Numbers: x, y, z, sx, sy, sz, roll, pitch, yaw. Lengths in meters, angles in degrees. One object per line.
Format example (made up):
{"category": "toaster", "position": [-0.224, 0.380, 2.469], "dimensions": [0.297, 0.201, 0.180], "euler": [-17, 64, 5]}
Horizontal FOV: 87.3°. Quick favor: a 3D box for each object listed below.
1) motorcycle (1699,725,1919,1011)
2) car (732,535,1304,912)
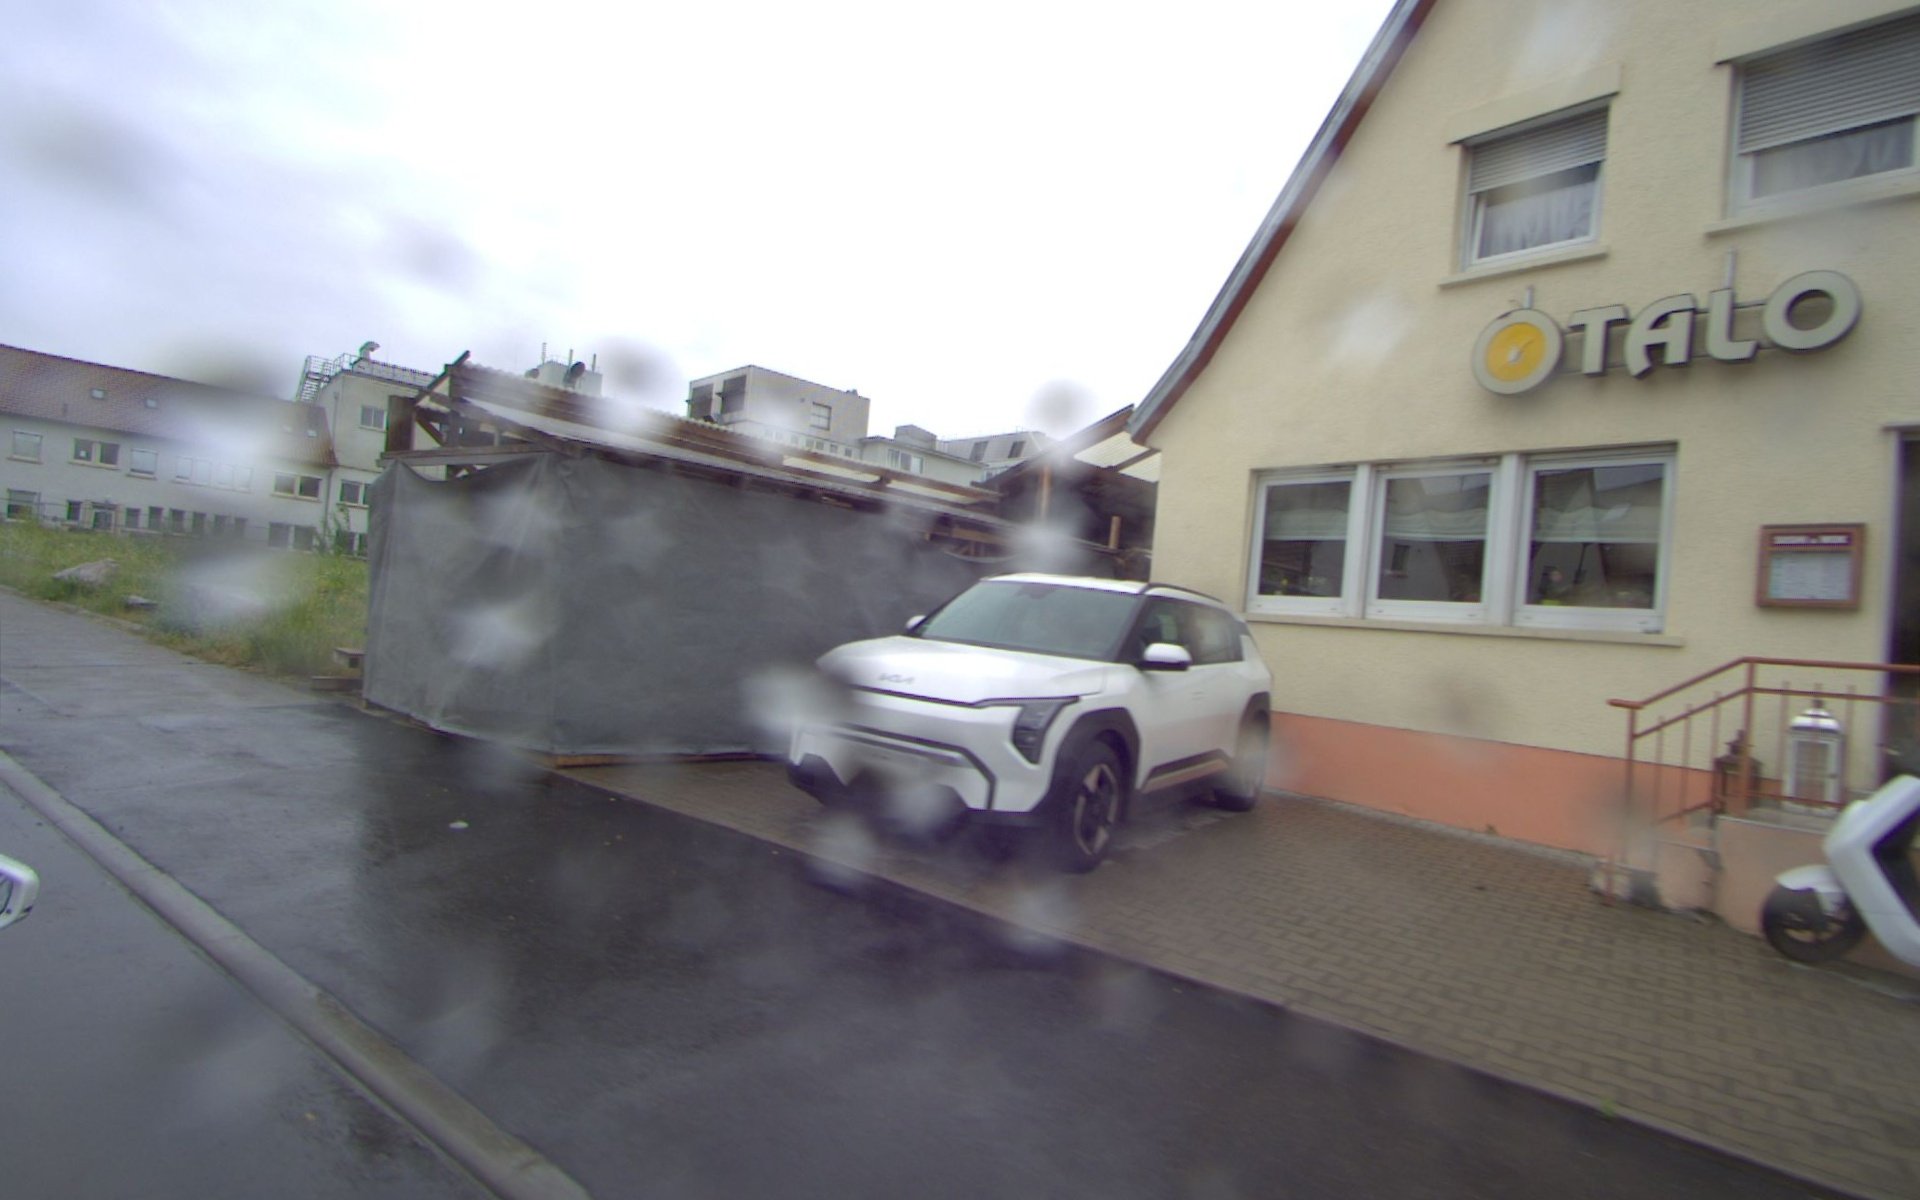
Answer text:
{"category": "motorcycle", "position": [4.497, 1.255, 4.357], "dimensions": [1.972, 1.109, 0.487], "euler": [7, 0, 40]}
{"category": "car", "position": [0.734, 0.631, 6.744], "dimensions": [1.832, 1.630, 4.216], "euler": [5, 0, 34]}
